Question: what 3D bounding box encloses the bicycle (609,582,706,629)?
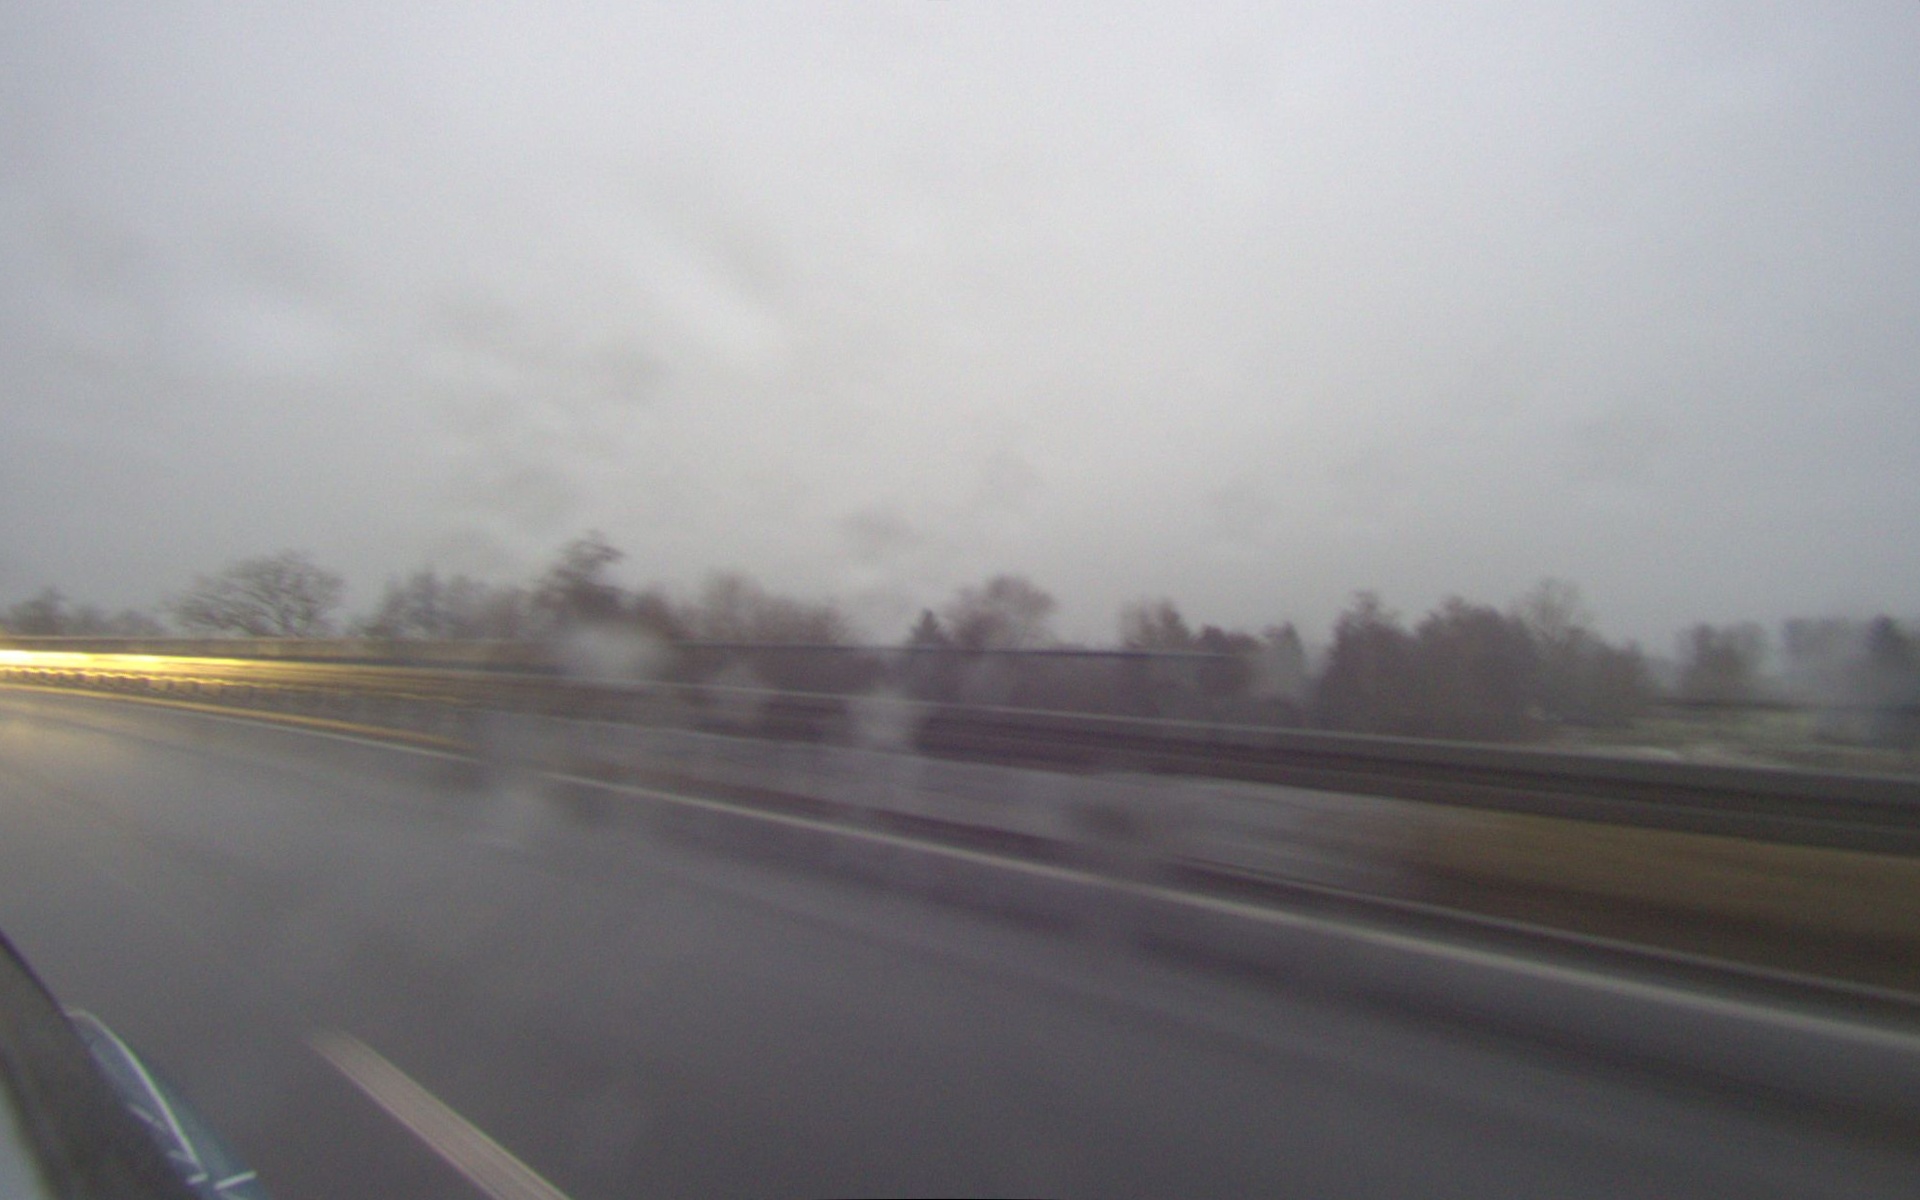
[{"bbox_3d":[-13.766,0.257,46.037,3.982,2.029,1.981,-1,-1,29],"label":"bicycle"}]
